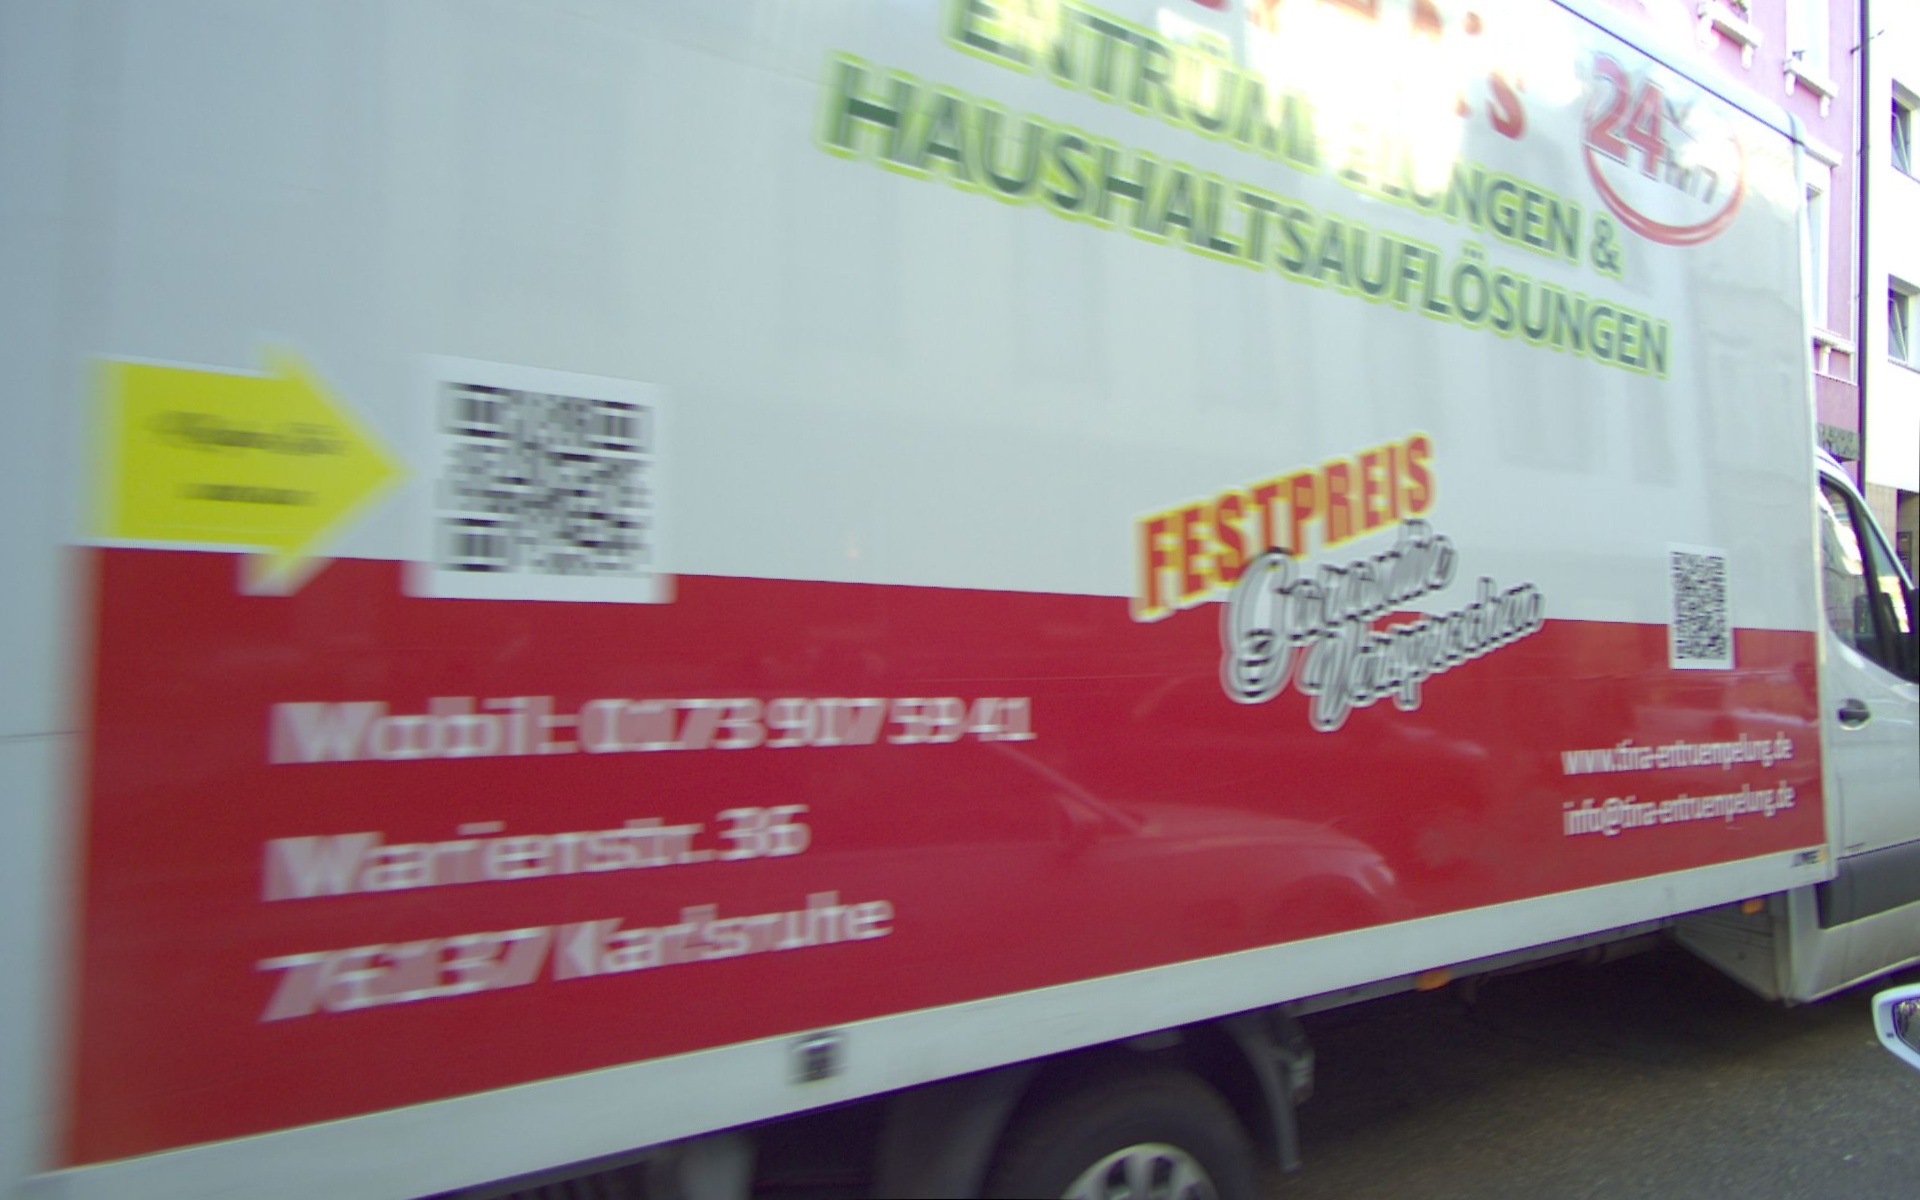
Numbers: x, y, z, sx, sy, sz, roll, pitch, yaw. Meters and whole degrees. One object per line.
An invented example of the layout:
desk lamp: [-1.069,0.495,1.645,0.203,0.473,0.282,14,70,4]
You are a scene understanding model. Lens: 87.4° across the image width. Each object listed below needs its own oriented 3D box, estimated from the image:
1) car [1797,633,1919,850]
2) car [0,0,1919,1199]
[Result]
car: [8.248,1.028,7.805,3.524,1.503,1.571,2,-4,-31]
car: [1.070,-0.060,3.477,7.070,3.334,2.333,2,-3,-30]
